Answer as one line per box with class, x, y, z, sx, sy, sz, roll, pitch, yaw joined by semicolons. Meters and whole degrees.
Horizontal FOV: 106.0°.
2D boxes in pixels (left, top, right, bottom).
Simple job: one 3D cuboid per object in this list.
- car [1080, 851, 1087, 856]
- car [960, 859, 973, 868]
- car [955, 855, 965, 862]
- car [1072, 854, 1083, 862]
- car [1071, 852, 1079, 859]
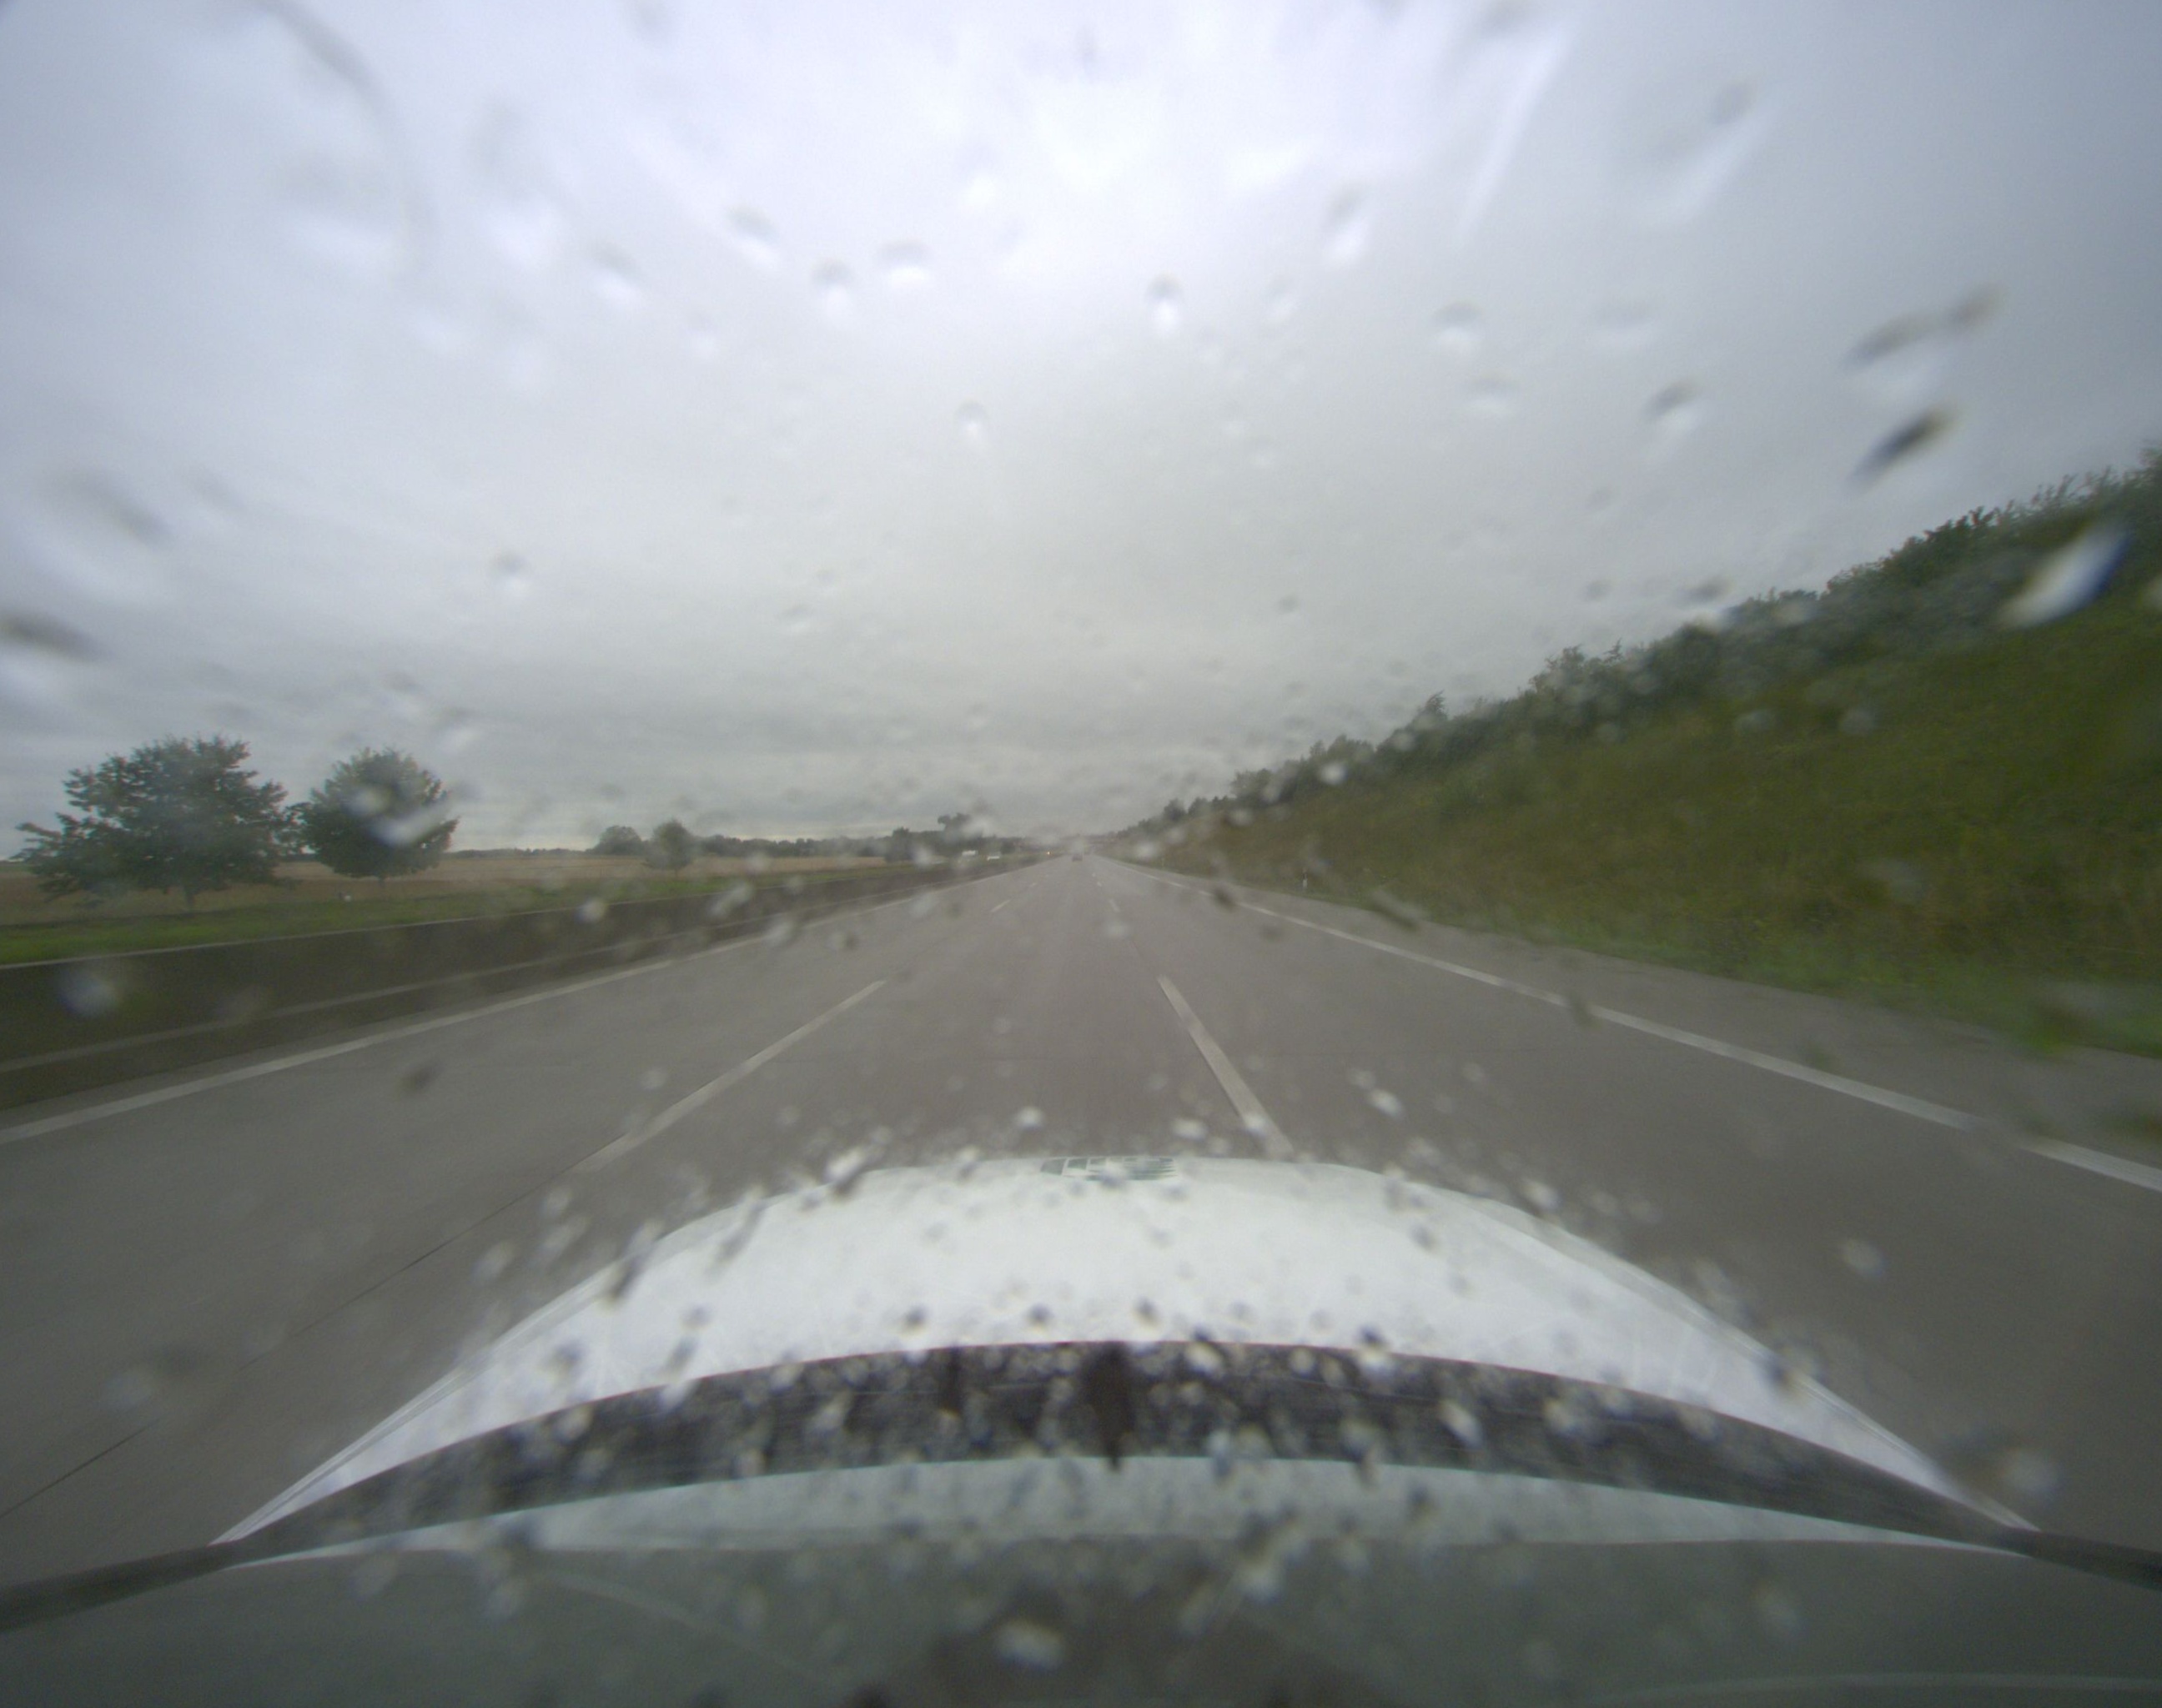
car;0.673;-0.048;230.910;1.724;1.331;4.428;-1;1;-1
car;-20.076;1.647;142.747;1.667;1.398;4.064;-1;0;-1
car;-26.464;0.963;178.534;1.667;1.398;4.064;-1;0;-1
car;-0.659;0.735;151.683;1.842;1.331;4.428;-1;1;-1
car;-1.417;0.313;188.825;1.724;1.331;4.428;-1;1;-1
